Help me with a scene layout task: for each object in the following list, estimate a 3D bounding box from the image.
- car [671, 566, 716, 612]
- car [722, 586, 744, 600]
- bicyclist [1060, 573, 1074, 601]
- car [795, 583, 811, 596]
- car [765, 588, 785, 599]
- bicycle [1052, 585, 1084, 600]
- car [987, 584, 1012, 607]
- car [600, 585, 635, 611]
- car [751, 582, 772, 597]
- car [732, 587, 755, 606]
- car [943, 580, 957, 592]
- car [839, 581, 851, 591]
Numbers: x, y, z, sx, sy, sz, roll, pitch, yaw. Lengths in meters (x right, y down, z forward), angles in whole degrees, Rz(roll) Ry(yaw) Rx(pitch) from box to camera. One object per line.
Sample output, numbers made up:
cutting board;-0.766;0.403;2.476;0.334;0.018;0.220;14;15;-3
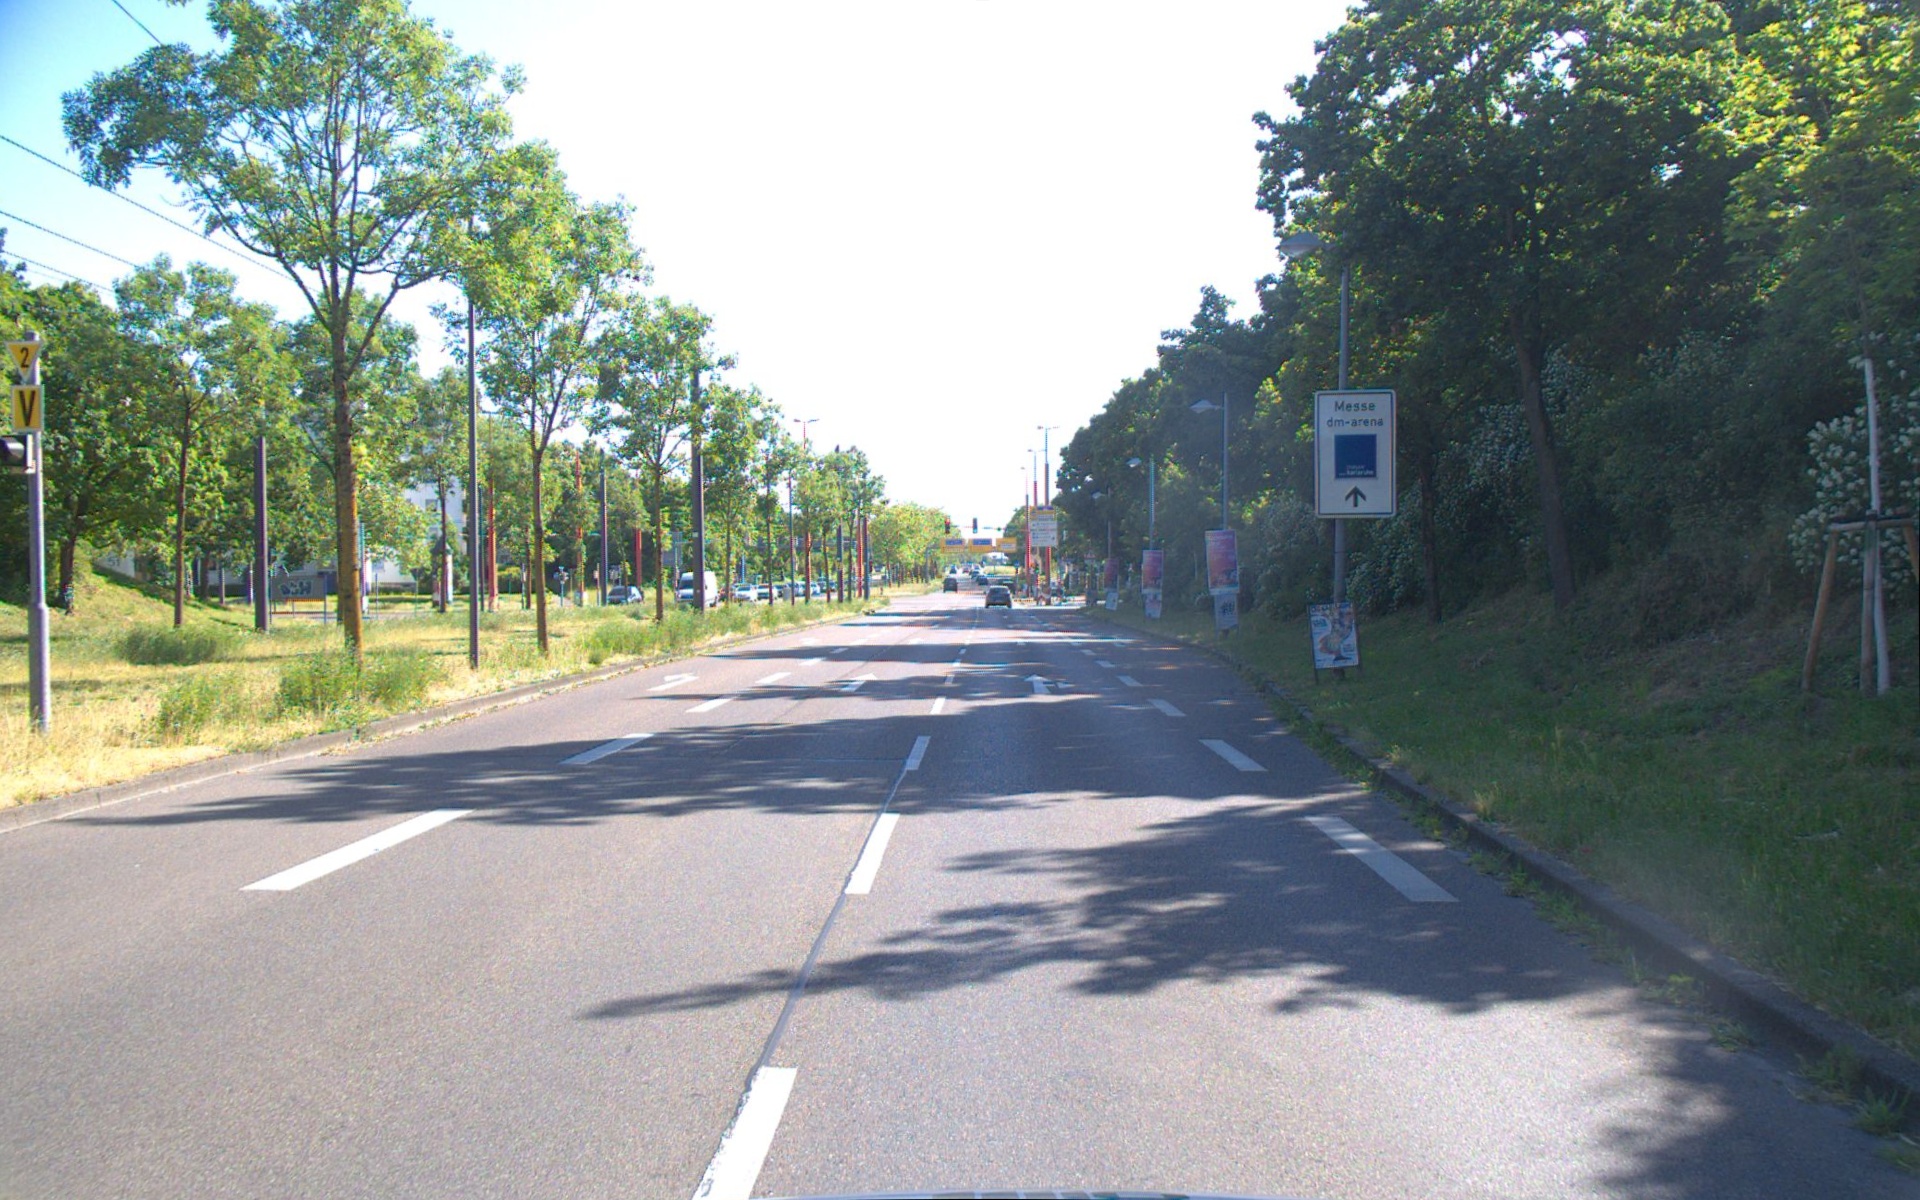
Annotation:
car;-19.684;-0.799;122.290;2.415;3.296;6.133;0;0;-1
car;-21.872;-0.686;159.461;1.598;1.311;4.098;0;1;-1
bicyclist;8.003;-0.988;123.764;0.988;2.042;0.812;0;0;0
car;-18.302;-1.195;193.159;1.598;1.471;4.191;0;1;-1
car;-19.097;-0.692;170.924;1.598;1.130;4.191;0;1;-1
bicycle;8.102;-0.536;123.771;2.365;1.129;0.812;0;0;0
car;2.634;-0.301;110.829;1.600;1.524;4.235;0;1;1
car;-23.201;-0.152;112.221;1.598;1.710;4.191;0;1;-1
car;-19.227;-1.055;160.494;1.598;1.471;4.191;0;1;-1
car;-19.685;-0.358;150.160;1.598;1.710;4.191;0;1;-1
car;-1.278;-1.797;207.503;1.600;1.524;4.235;0;1;1
car;-17.378;-2.164;249.471;1.598;1.471;4.191;0;1;-1
